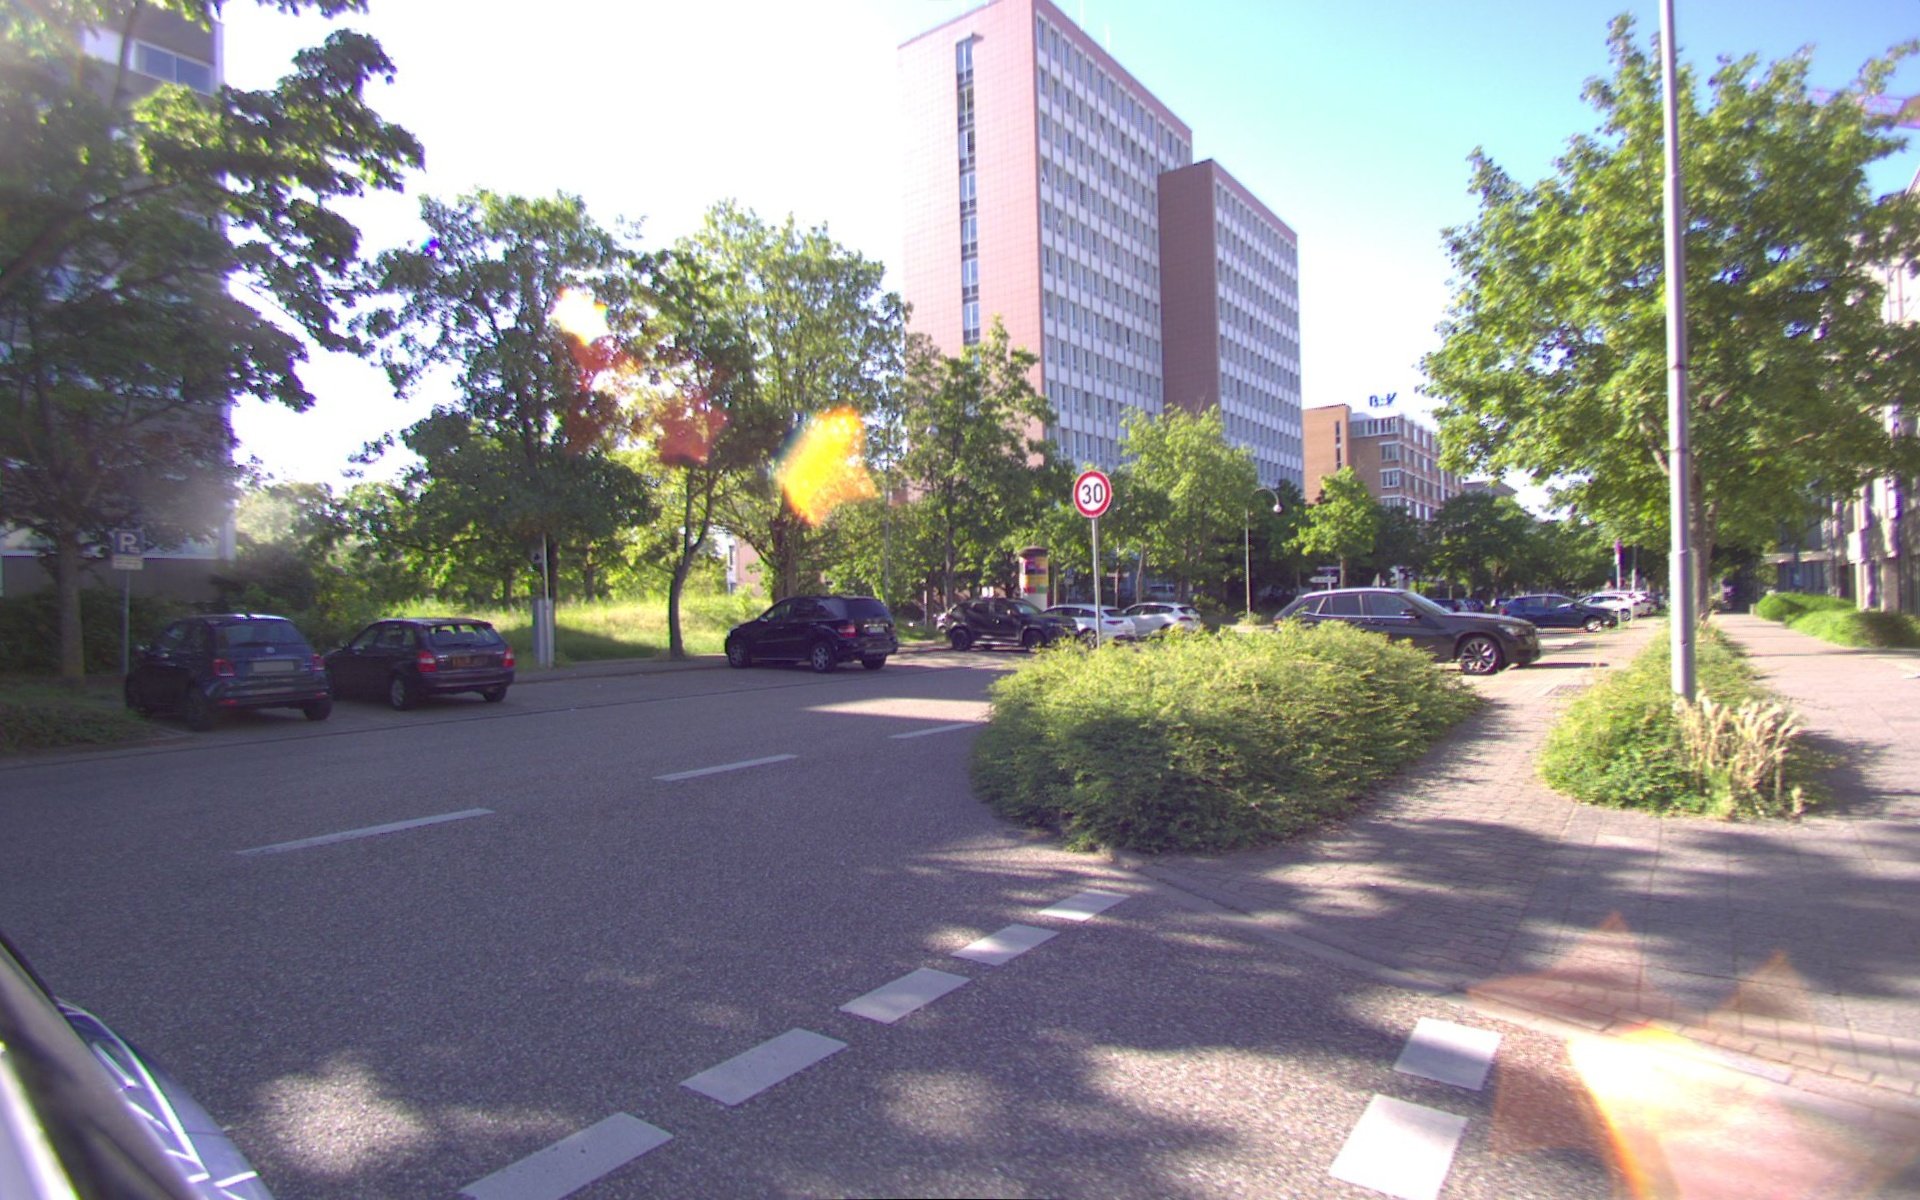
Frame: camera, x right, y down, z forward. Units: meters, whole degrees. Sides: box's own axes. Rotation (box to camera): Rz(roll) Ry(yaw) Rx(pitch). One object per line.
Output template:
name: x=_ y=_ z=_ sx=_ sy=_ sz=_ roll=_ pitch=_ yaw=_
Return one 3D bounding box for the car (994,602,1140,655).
car: x=3.497 y=0.962 z=33.350 sx=4.445 sy=1.557 sz=1.796 roll=-3 pitch=-1 yaw=35

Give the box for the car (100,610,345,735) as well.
car: x=-10.679 y=0.935 z=14.595 sx=3.811 sy=1.510 sz=1.682 roll=0 pitch=0 yaw=34

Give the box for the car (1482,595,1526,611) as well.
car: x=62.257 y=0.346 z=115.782 sx=4.157 sy=1.719 sz=1.977 roll=-3 pitch=-2 yaw=35

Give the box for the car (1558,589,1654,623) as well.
car: x=35.292 y=0.335 z=55.343 sx=4.232 sy=1.614 sz=1.928 roll=-4 pitch=-2 yaw=38

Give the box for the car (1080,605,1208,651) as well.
car: x=6.954 y=1.012 z=38.428 sx=4.430 sy=1.605 sz=1.815 roll=0 pitch=0 yaw=35

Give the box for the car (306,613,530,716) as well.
car: x=-9.070 y=0.974 z=16.823 sx=3.994 sy=1.397 sz=1.799 roll=1 pitch=1 yaw=37

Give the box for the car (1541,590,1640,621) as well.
car: x=33.101 y=0.314 z=53.146 sx=4.264 sy=1.491 sz=1.778 roll=-3 pitch=-2 yaw=36

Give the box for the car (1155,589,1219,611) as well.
car: x=18.485 y=0.021 z=82.576 sx=4.717 sy=1.699 sz=1.854 roll=-1 pitch=-1 yaw=33

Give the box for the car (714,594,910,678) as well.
car: x=-3.567 y=0.777 z=23.995 sx=4.595 sy=1.792 sz=1.975 roll=0 pitch=0 yaw=37

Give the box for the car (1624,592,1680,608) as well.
car: x=80.887 y=0.054 z=118.271 sx=5.250 sy=1.637 sz=1.928 roll=-3 pitch=-2 yaw=39

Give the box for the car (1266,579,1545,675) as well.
car: x=7.834 y=0.514 z=17.995 sx=4.200 sy=1.531 sz=1.749 roll=-3 pitch=-2 yaw=38

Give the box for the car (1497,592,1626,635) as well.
car: x=22.421 y=0.500 z=37.793 sx=3.989 sy=1.422 sz=1.797 roll=-3 pitch=-1 yaw=34

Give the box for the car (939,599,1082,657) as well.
car: x=1.528 y=0.806 z=31.089 sx=4.122 sy=1.630 sz=1.713 roll=0 pitch=1 yaw=35
